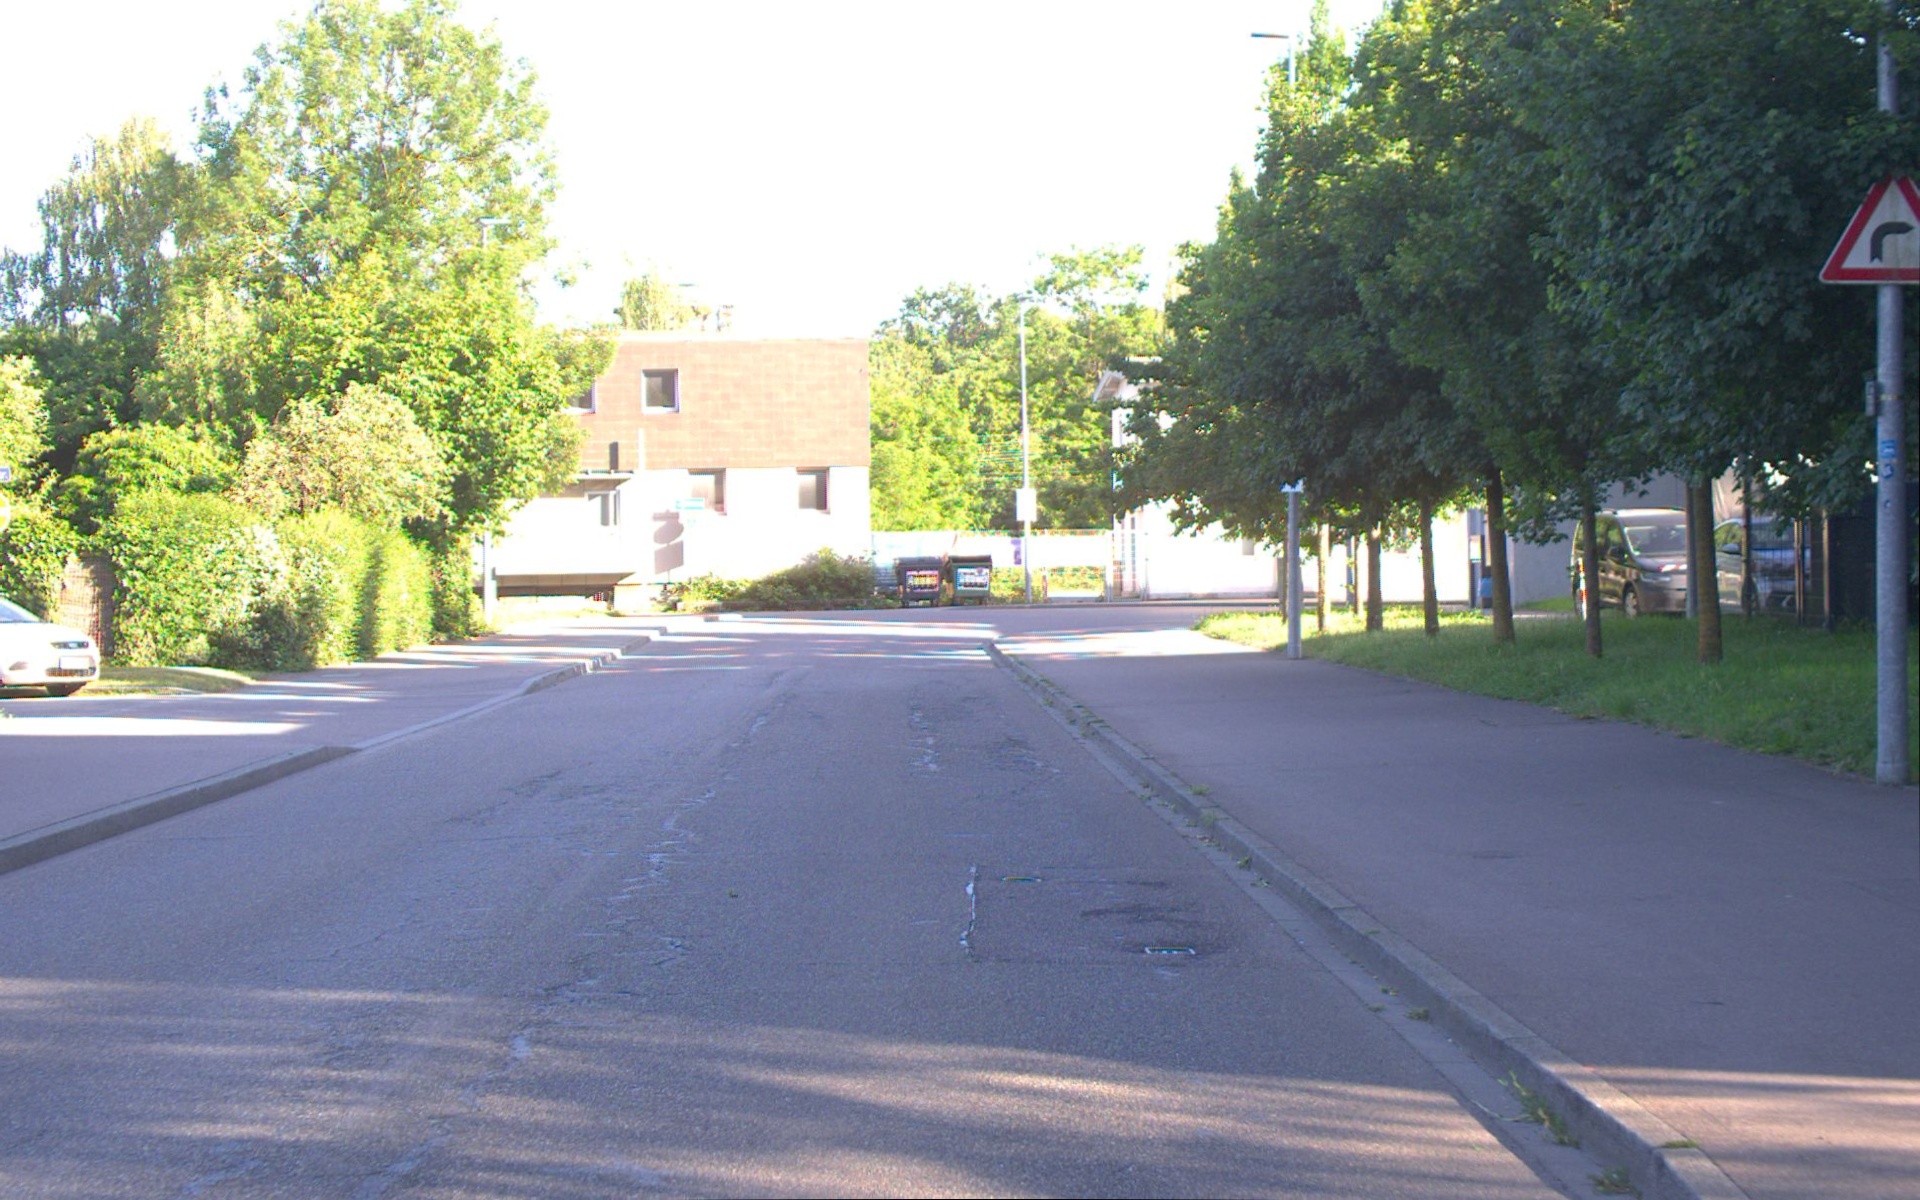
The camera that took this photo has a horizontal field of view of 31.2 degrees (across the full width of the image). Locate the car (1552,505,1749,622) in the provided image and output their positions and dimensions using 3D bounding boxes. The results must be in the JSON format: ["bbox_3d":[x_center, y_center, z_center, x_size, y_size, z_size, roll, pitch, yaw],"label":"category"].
[{"bbox_3d":[11.194,-0.558,56.038,1.835,1.808,4.667,1,0,-6],"label":"car"}]

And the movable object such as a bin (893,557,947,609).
[{"bbox_3d":[-1.131,-0.475,96.085,1.364,1.413,1.066,1,-1,-8],"label":"movable object such as a bin"}]

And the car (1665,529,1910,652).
[{"bbox_3d":[10.437,-0.098,43.657,1.835,1.461,4.279,1,0,-3],"label":"car"}]

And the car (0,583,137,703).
[{"bbox_3d":[-12.930,0.524,44.444,4.216,1.485,1.874,1,0,26],"label":"car"}]

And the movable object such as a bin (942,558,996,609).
[{"bbox_3d":[0.242,-0.453,96.443,1.364,1.413,1.066,1,-1,-8],"label":"movable object such as a bin"}]

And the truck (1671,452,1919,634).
[{"bbox_3d":[14.076,-0.917,57.469,2.358,2.828,6.751,1,0,-6],"label":"truck"}]
